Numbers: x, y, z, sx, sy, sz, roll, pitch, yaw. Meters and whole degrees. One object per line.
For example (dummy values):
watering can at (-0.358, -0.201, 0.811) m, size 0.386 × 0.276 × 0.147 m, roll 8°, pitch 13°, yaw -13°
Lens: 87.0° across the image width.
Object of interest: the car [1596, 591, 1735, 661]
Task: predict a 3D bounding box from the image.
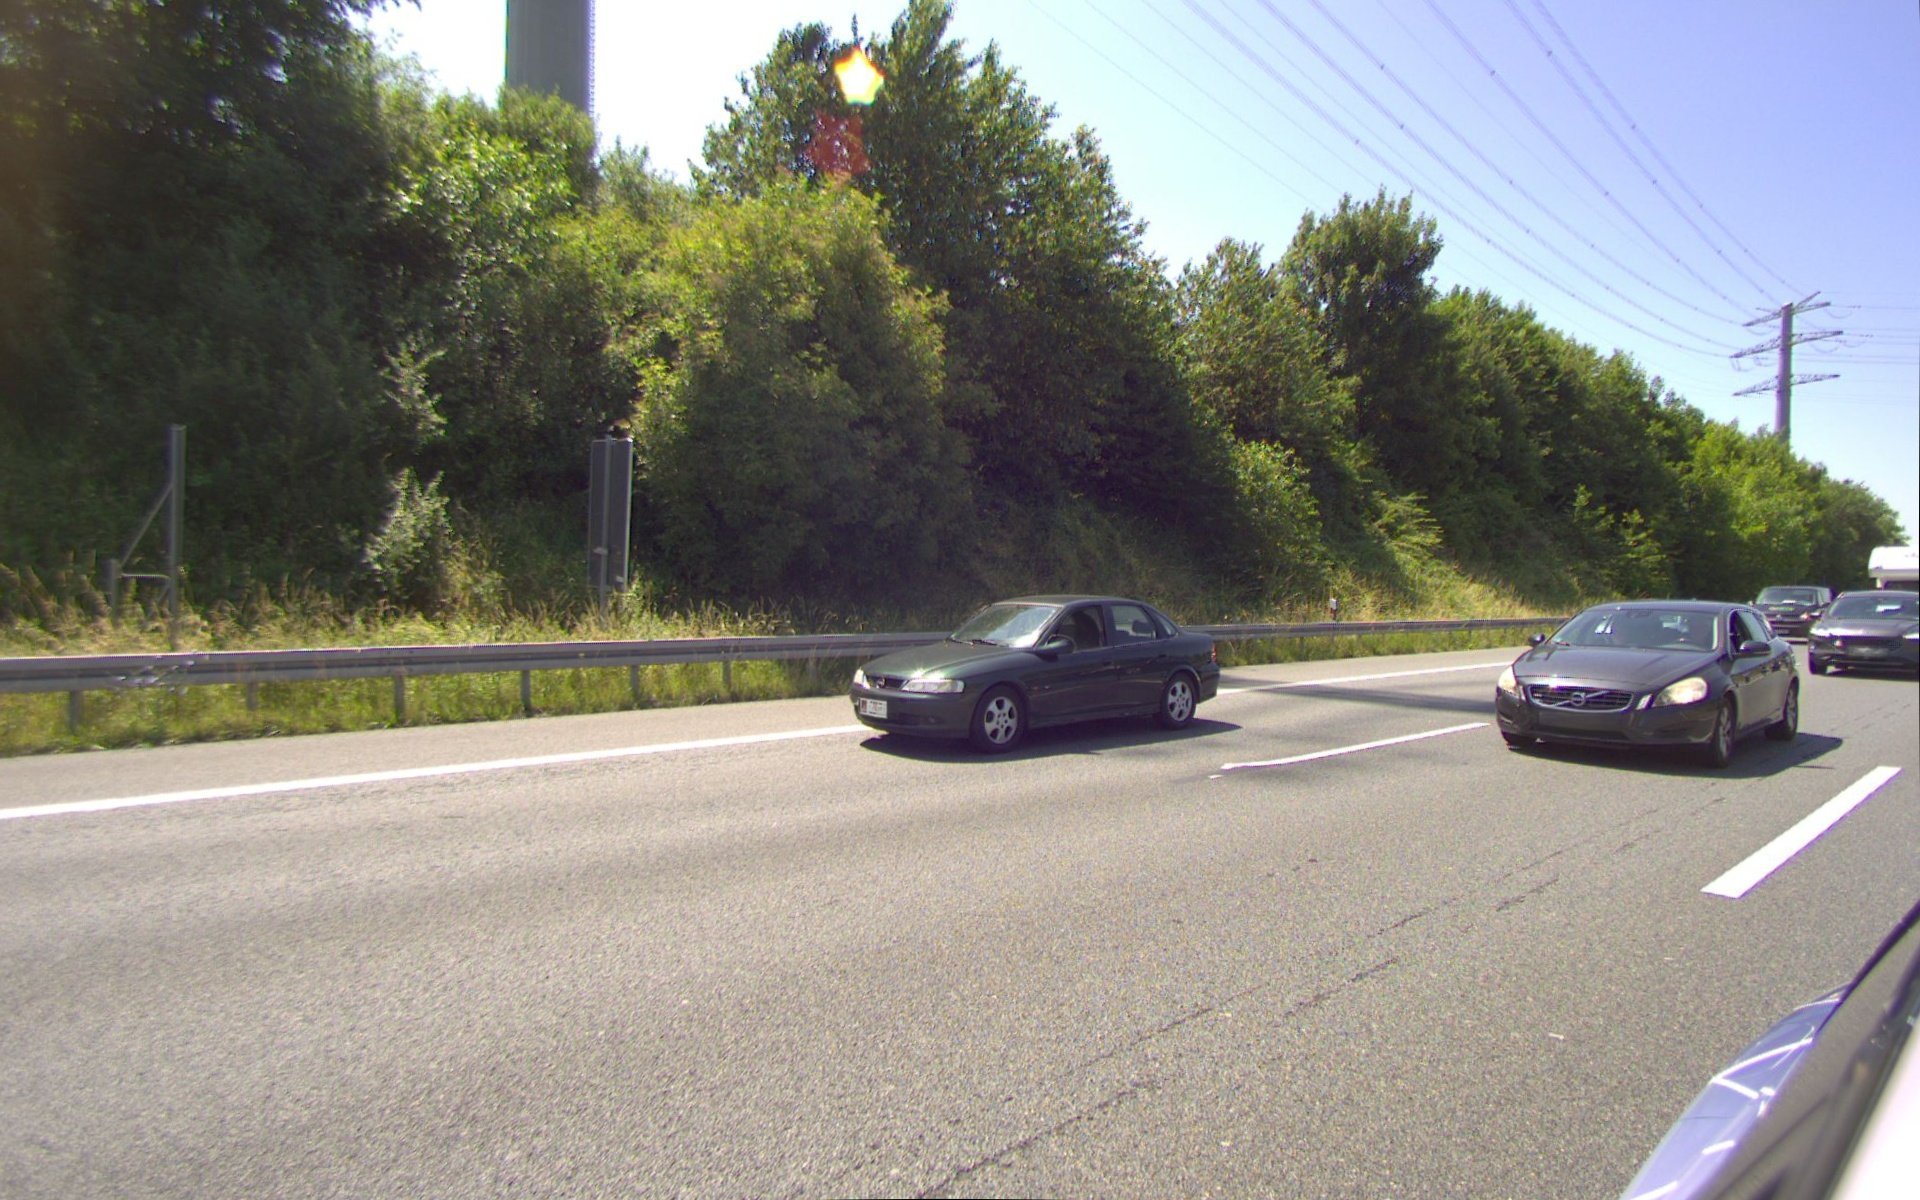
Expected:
car at (16.478, 0.542, 23.576) m, size 3.943 × 1.488 × 1.744 m, roll 0°, pitch 0°, yaw -40°

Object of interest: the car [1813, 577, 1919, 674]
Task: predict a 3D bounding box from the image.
car at (18.375, 0.435, 19.890) m, size 4.308 × 1.724 × 1.890 m, roll -1°, pitch 1°, yaw -42°

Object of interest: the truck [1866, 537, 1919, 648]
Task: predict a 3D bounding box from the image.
truck at (30.270, -0.241, 30.862) m, size 9.721 × 3.053 × 2.513 m, roll -1°, pitch 0°, yaw -40°

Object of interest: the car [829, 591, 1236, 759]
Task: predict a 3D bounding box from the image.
car at (0.895, 0.611, 10.499) m, size 4.227 × 1.395 × 1.737 m, roll -1°, pitch 0°, yaw -41°

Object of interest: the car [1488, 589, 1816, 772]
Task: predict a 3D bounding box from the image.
car at (7.050, 0.623, 10.144) m, size 4.158 × 1.455 × 1.798 m, roll -1°, pitch 1°, yaw -42°

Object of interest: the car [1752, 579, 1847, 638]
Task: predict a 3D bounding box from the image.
car at (29.052, 0.251, 34.975) m, size 4.616 × 1.928 × 1.787 m, roll -1°, pitch 0°, yaw -41°
